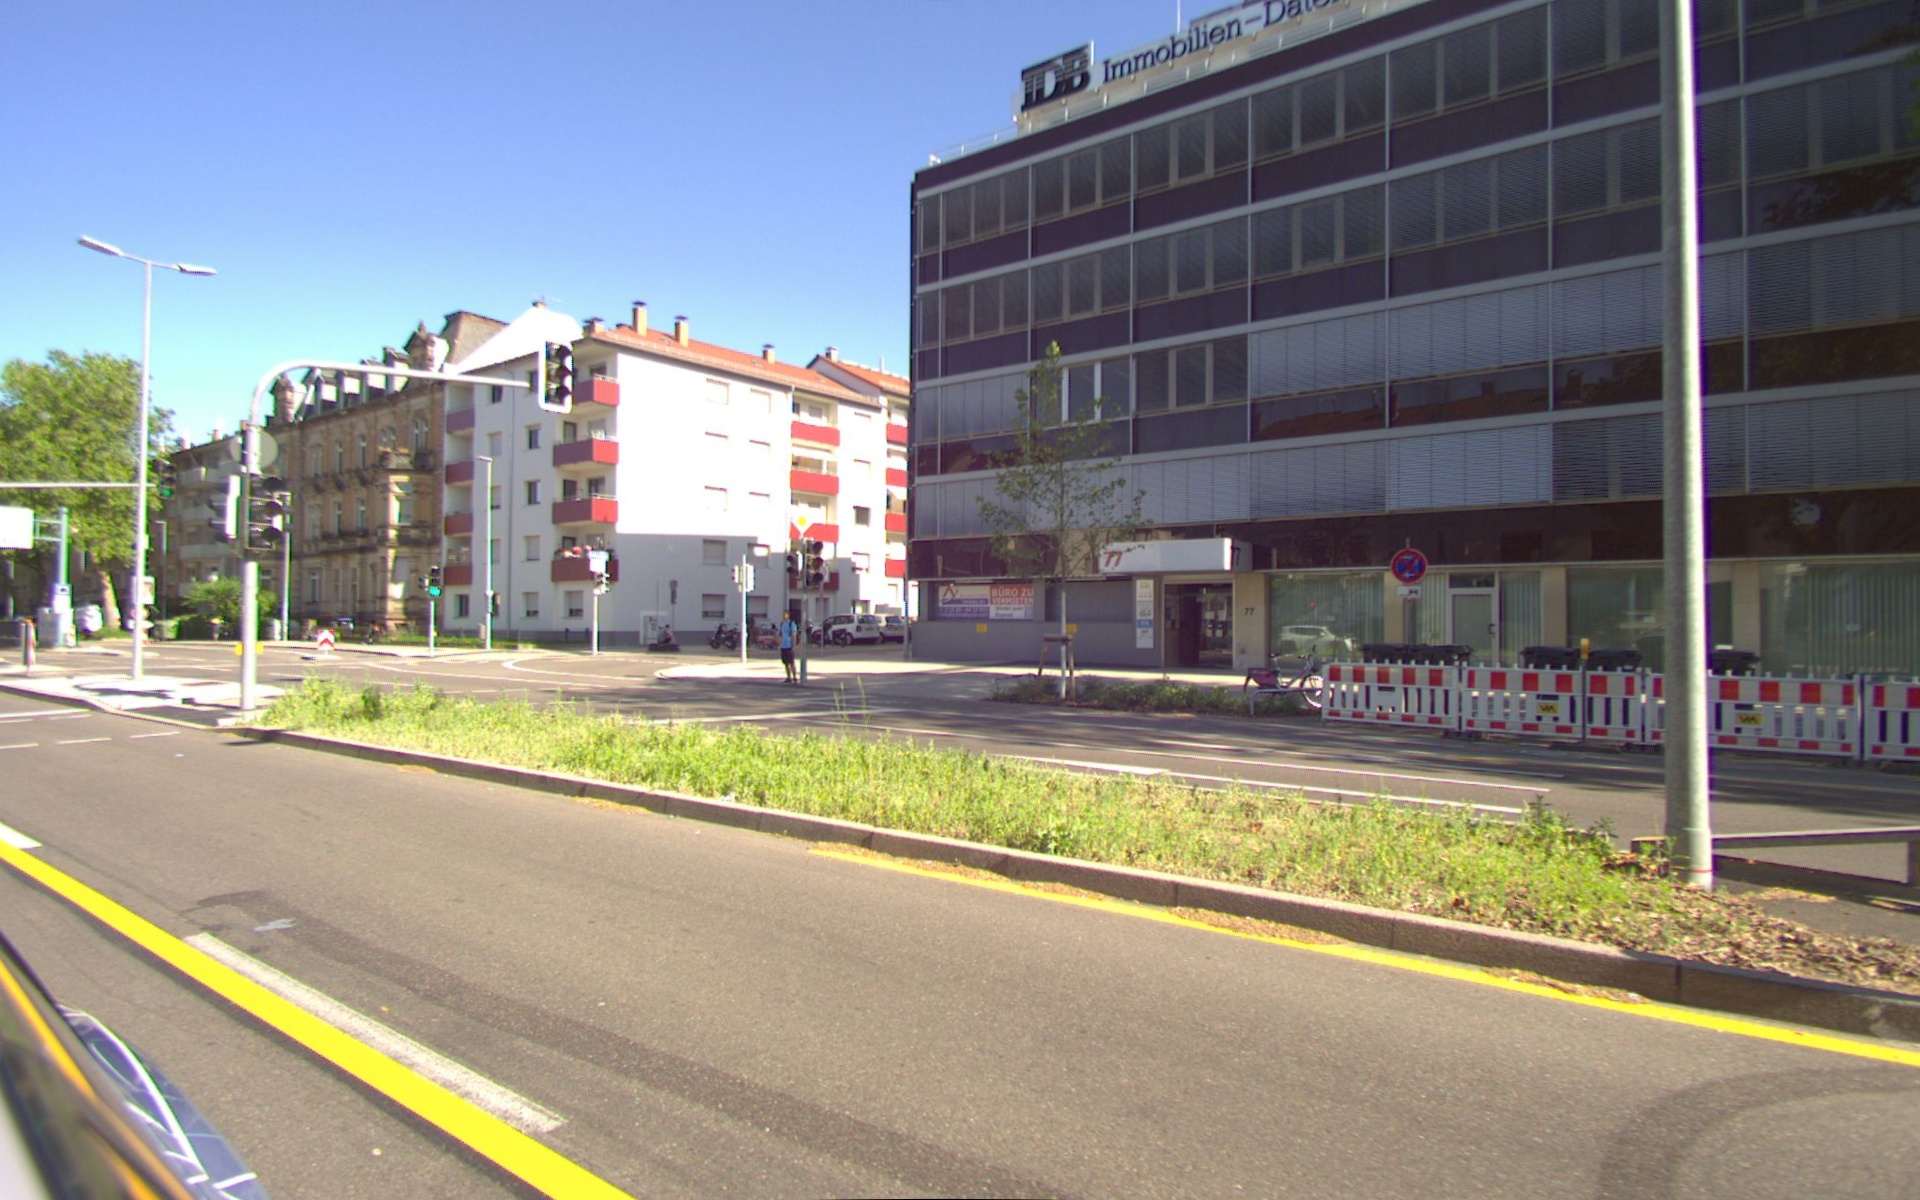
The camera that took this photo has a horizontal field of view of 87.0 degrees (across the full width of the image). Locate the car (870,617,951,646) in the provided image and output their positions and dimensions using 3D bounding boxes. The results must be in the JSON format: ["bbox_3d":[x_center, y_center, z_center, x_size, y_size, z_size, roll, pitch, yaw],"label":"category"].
[{"bbox_3d":[-2.799,1.759,56.423,4.570,1.541,1.741,-1,-2,40],"label":"car"}]

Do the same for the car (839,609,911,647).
[{"bbox_3d":[-4.586,1.507,54.242,3.790,1.970,1.679,-1,-2,40],"label":"car"}]

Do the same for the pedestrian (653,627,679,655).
[{"bbox_3d":[-12.482,1.736,42.988,0.784,1.162,0.713,-1,-1,24],"label":"pedestrian"}]

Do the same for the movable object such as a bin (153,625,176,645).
[{"bbox_3d":[-55.077,2.438,70.070,1.471,1.371,0.884,-3,-5,38],"label":"movable object such as a bin"}]

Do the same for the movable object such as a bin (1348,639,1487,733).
[{"bbox_3d":[7.440,1.359,16.496,1.853,1.399,1.103,-1,-2,39],"label":"movable object such as a bin"}]

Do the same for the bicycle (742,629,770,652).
[{"bbox_3d":[-9.348,1.840,46.284,0.500,0.985,1.889,1,-2,-37],"label":"bicycle"}]

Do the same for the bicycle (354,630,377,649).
[{"bbox_3d":[-31.200,2.051,53.126,1.936,0.965,0.301,-1,-2,37],"label":"bicycle"}]

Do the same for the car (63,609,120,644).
[{"bbox_3d":[-66.272,2.066,77.194,5.278,2.465,2.223,-3,-5,38],"label":"car"}]

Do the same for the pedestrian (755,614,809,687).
[{"bbox_3d":[-4.350,1.213,24.731,1.012,1.724,0.855,-2,-2,44],"label":"pedestrian"}]

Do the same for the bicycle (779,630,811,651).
[{"bbox_3d":[-7.887,1.929,48.349,1.736,1.011,0.503,-1,-2,42],"label":"bicycle"}]

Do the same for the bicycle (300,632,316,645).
[{"bbox_3d":[-37.096,2.185,57.580,1.411,0.777,0.296,-1,-2,37],"label":"bicycle"}]

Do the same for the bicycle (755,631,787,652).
[{"bbox_3d":[-8.694,1.902,46.488,0.471,0.955,1.953,1,-2,-44],"label":"bicycle"}]

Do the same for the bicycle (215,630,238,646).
[{"bbox_3d":[-46.934,2.424,64.729,2.245,1.013,0.463,-2,-1,35],"label":"bicycle"}]

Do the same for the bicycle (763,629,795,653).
[{"bbox_3d":[-8.511,1.905,47.491,1.734,1.076,0.484,-1,-2,39],"label":"bicycle"}]

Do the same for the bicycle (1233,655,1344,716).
[{"bbox_3d":[6.145,1.582,19.008,1.876,1.045,0.621,-1,-2,38],"label":"bicycle"}]

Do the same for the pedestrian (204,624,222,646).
[{"bbox_3d":[-47.605,2.213,64.498,1.087,1.388,0.561,-2,-2,35],"label":"pedestrian"}]

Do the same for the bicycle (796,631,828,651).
[{"bbox_3d":[-7.137,1.955,48.816,1.721,0.955,0.454,-1,-2,39],"label":"bicycle"}]

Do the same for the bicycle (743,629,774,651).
[{"bbox_3d":[-9.989,1.974,50.154,1.690,1.066,0.568,-1,-2,42],"label":"bicycle"}]

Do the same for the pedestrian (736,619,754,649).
[{"bbox_3d":[-11.075,1.754,52.044,0.694,1.508,0.594,-1,-2,40],"label":"pedestrian"}]

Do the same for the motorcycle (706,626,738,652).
[{"bbox_3d":[-11.024,1.786,46.861,0.604,1.150,1.784,1,-2,-44],"label":"motorcycle"}]

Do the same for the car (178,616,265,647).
[{"bbox_3d":[-43.258,1.837,59.362,3.932,1.726,2.006,1,-2,-31],"label":"car"}]

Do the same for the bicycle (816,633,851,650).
[{"bbox_3d":[-6.175,2.003,49.387,1.706,0.820,0.413,0,-1,14],"label":"bicycle"}]

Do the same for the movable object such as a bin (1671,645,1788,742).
[{"bbox_3d":[10.724,1.251,14.098,1.240,1.212,1.380,-1,-2,39],"label":"movable object such as a bin"}]

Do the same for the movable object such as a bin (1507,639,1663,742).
[{"bbox_3d":[9.359,1.296,15.172,1.853,1.399,1.203,-1,-2,39],"label":"movable object such as a bin"}]

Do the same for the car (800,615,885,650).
[{"bbox_3d":[-6.154,1.689,52.596,4.479,1.744,1.972,-1,-2,43],"label":"car"}]

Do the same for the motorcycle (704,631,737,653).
[{"bbox_3d":[-10.733,1.866,45.289,1.842,0.943,0.497,-1,-2,44],"label":"motorcycle"}]

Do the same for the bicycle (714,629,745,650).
[{"bbox_3d":[-11.095,1.896,48.664,1.736,0.976,0.568,-1,-2,42],"label":"bicycle"}]
